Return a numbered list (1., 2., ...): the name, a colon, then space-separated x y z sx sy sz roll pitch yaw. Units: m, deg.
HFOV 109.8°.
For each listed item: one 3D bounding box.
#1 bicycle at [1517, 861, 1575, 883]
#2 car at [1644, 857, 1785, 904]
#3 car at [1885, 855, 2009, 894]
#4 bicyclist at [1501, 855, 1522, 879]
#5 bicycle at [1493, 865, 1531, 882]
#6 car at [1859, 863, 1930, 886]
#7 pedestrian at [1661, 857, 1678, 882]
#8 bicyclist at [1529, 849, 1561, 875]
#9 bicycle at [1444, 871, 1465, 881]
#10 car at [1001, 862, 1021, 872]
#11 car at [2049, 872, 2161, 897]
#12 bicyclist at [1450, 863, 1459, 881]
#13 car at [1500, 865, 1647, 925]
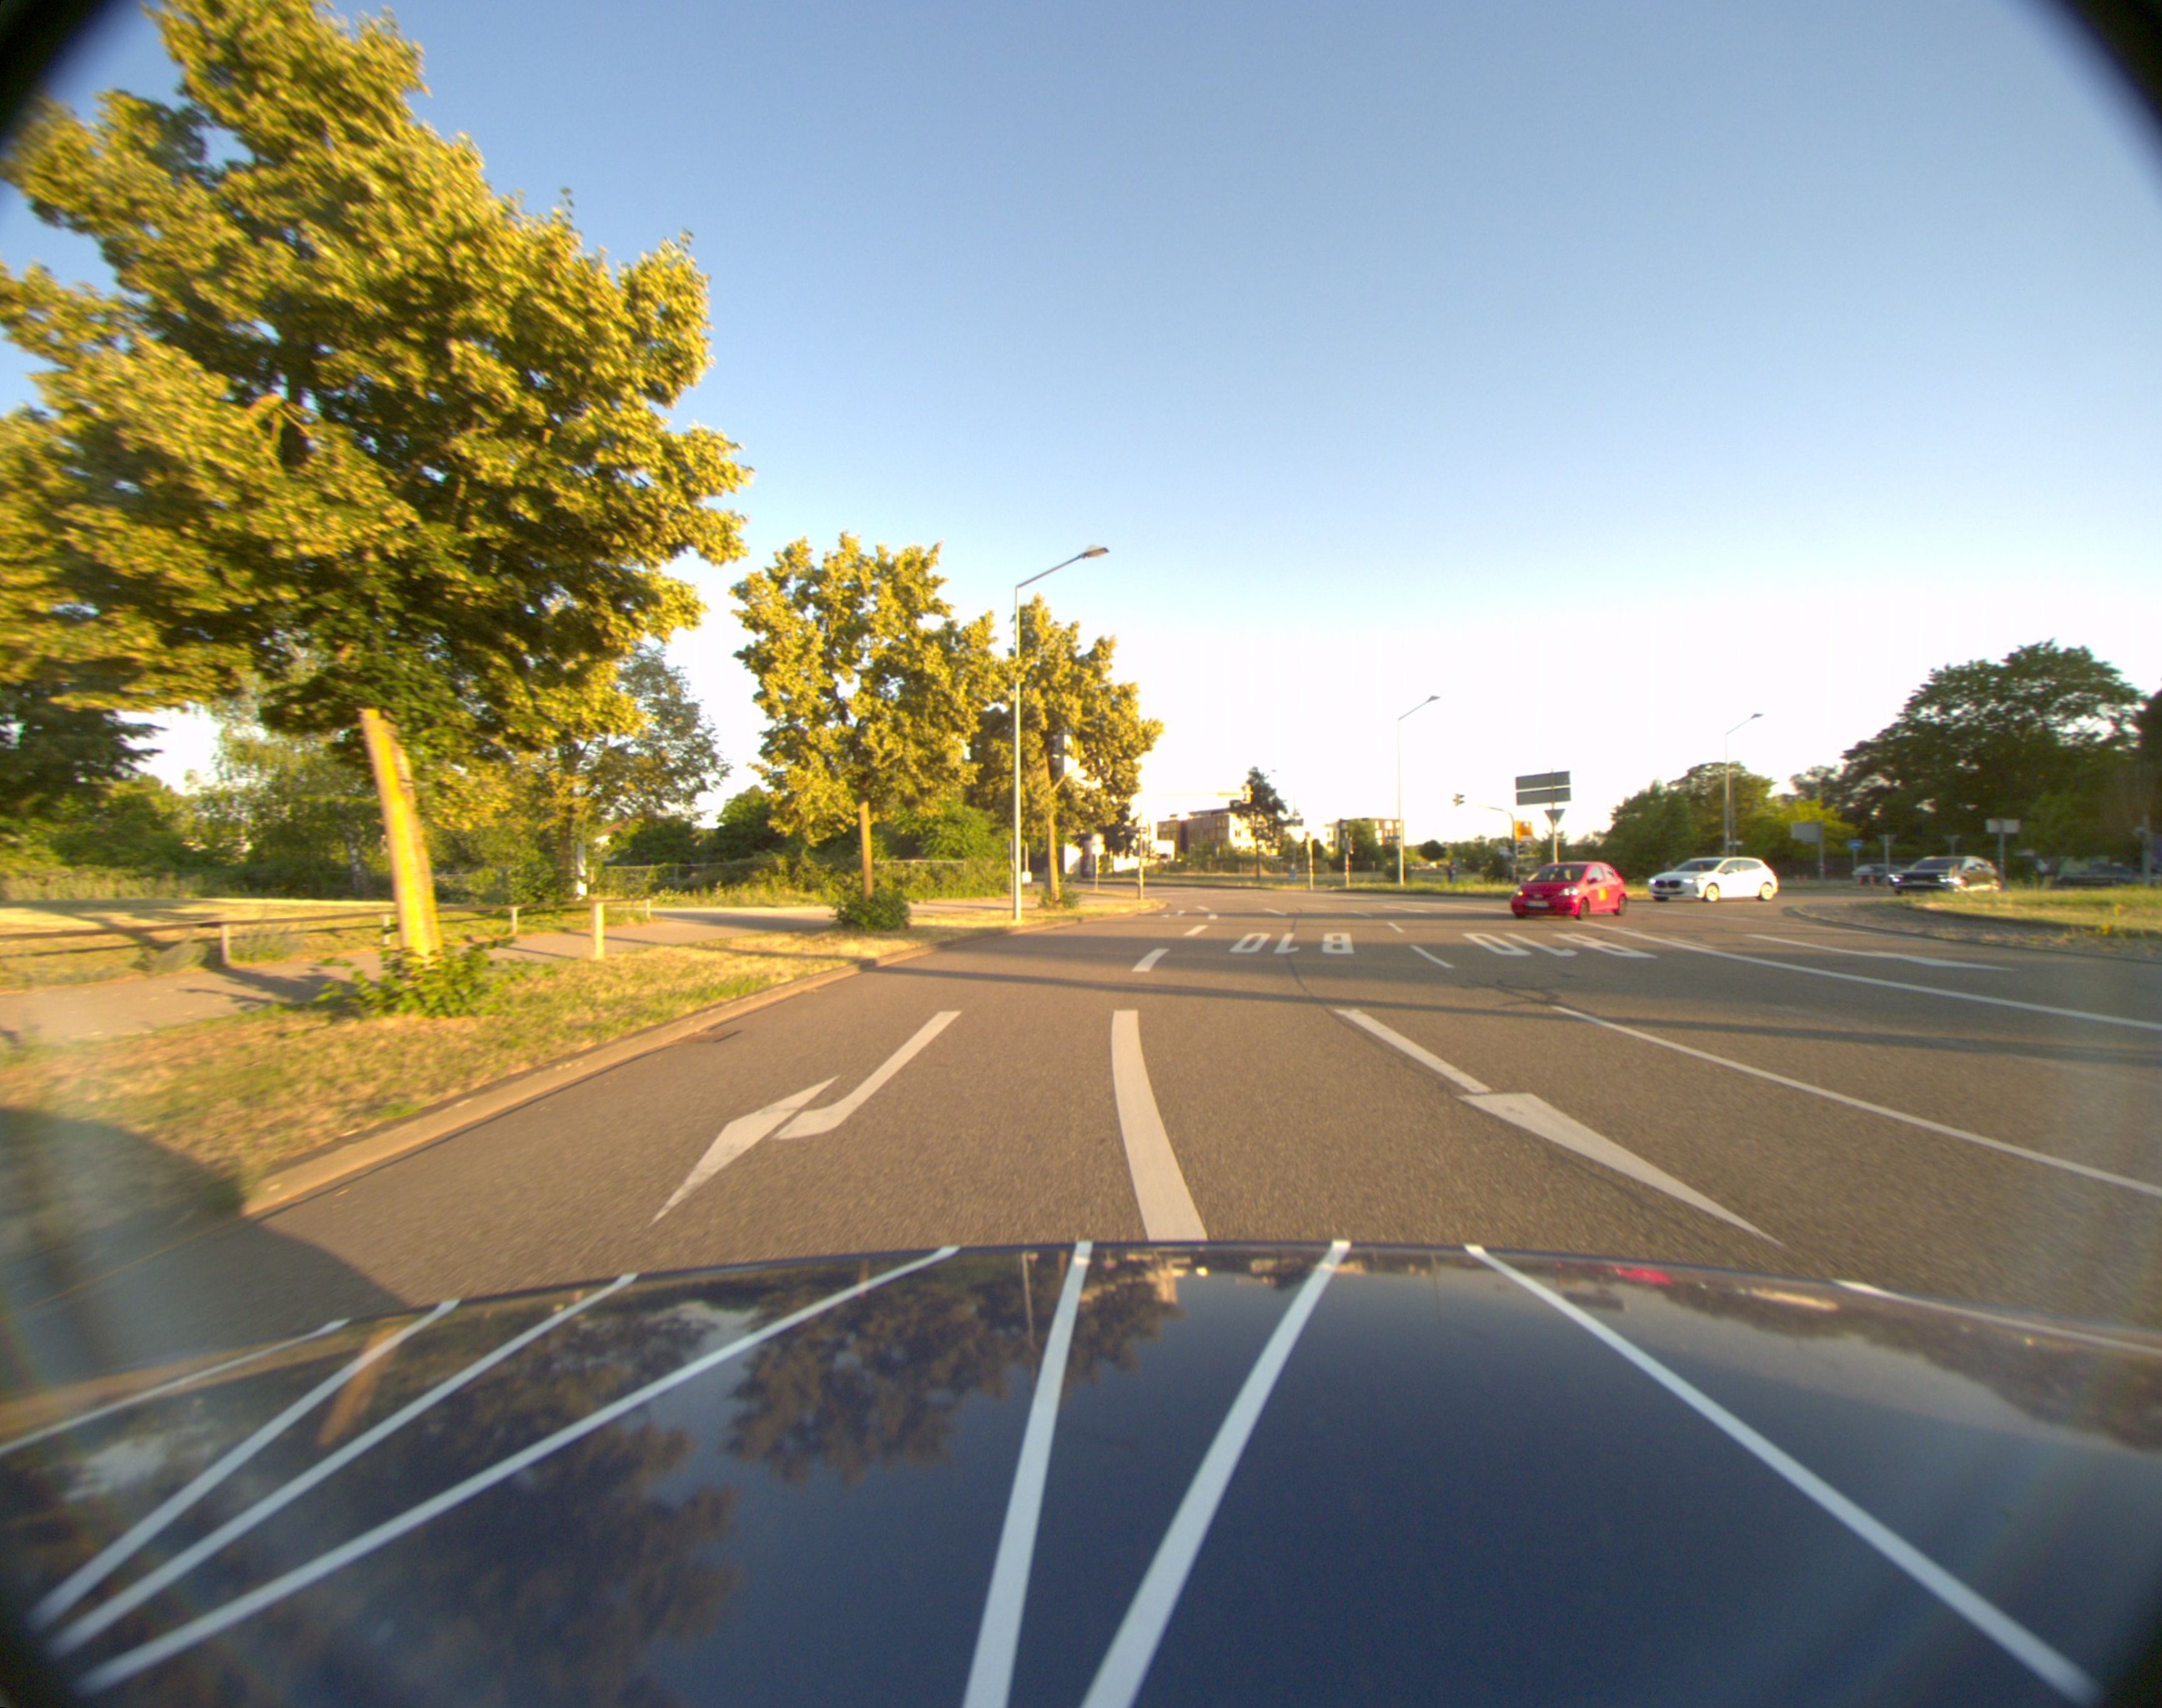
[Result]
1. bicycle: 31.307 1.202 51.199 3.540 1.387 1.122 0 0 -12
2. car: 22.287 0.916 26.756 4.217 1.549 1.758 0 -1 -17
3. car: 35.636 0.818 31.290 4.218 1.549 1.826 0 -1 -18
4. bicyclist: 29.838 0.893 52.658 1.001 1.623 0.810 0 0 -11
5. bicycle: 29.888 1.340 52.682 2.329 1.172 0.810 0 0 -11
6. car: 56.877 1.418 53.206 1.837 1.492 4.262 0 0 23
7. pedestrian: 40.436 1.086 52.194 0.888 1.691 0.722 -1 -1 34
8. bicyclist: 31.250 0.541 51.167 1.417 1.738 1.122 0 0 -12
9. bicycle: 29.423 1.760 59.859 0.475 0.786 1.415 0 -1 -43
10. car: -11.655 2.172 126.045 2.003 1.537 4.122 0 -1 -27
11. car: 63.124 1.830 46.708 1.942 1.423 4.406 0 -1 7
12. bicyclist: 29.428 1.405 59.841 0.475 1.389 0.447 0 0 -44
13. car: 12.924 1.002 19.864 4.219 1.413 1.690 0 -1 -34
